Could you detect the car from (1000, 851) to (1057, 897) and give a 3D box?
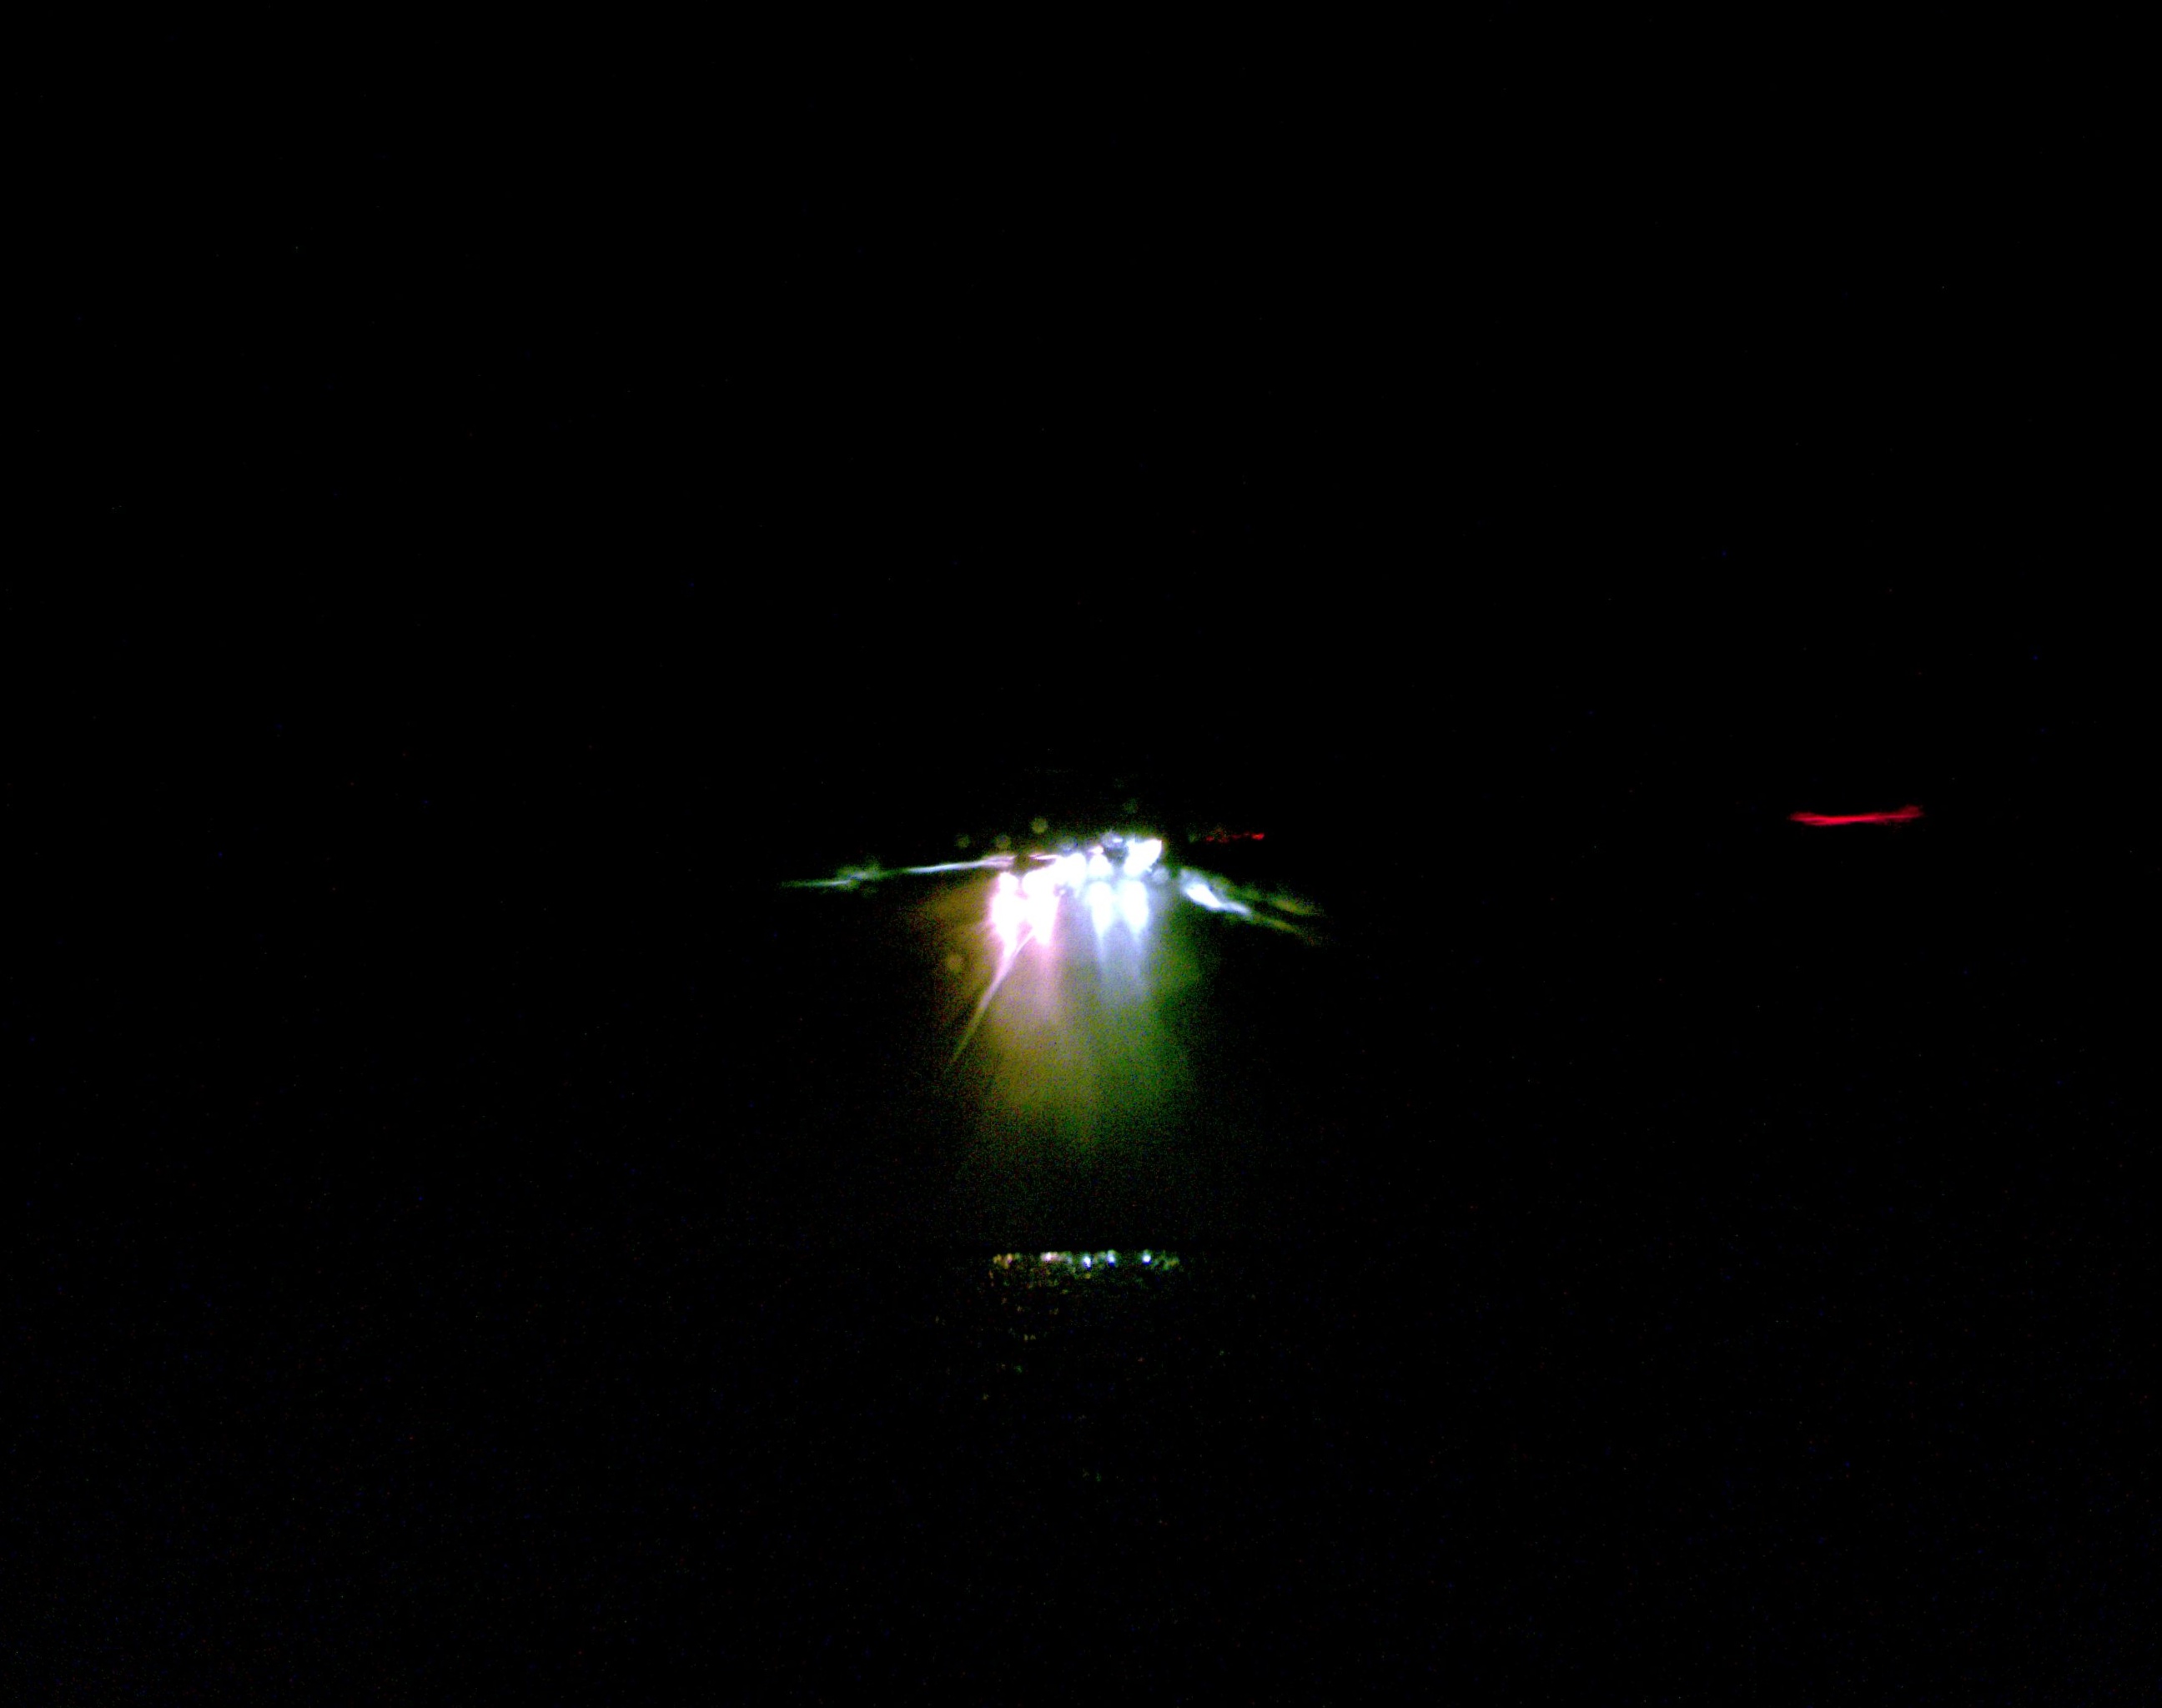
[{"bbox_3d":[-2.044,0.749,30.904,1.805,1.608,4.256,-3,1,2],"label":"car"}]

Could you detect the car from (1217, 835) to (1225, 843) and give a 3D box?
[{"bbox_3d":[41.044,-4.372,222.668,1.997,2.001,5.192,-6,-1,9],"label":"car"}]

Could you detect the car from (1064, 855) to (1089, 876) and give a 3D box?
[{"bbox_3d":[-0.351,0.960,65.844,1.847,1.614,3.680,-5,-1,3],"label":"car"}]

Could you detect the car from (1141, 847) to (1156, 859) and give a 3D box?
[{"bbox_3d":[11.249,-0.159,126.495,1.997,1.802,4.003,-6,-1,11],"label":"car"}]

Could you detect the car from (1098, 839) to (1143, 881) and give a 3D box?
[{"bbox_3d":[2.186,0.313,41.186,1.998,2.001,4.002,-5,-1,7],"label":"car"}]

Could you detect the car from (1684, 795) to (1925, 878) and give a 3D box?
[{"bbox_3d":[17.398,-0.366,18.609,1.998,1.595,4.001,-6,-1,2],"label":"car"}]
